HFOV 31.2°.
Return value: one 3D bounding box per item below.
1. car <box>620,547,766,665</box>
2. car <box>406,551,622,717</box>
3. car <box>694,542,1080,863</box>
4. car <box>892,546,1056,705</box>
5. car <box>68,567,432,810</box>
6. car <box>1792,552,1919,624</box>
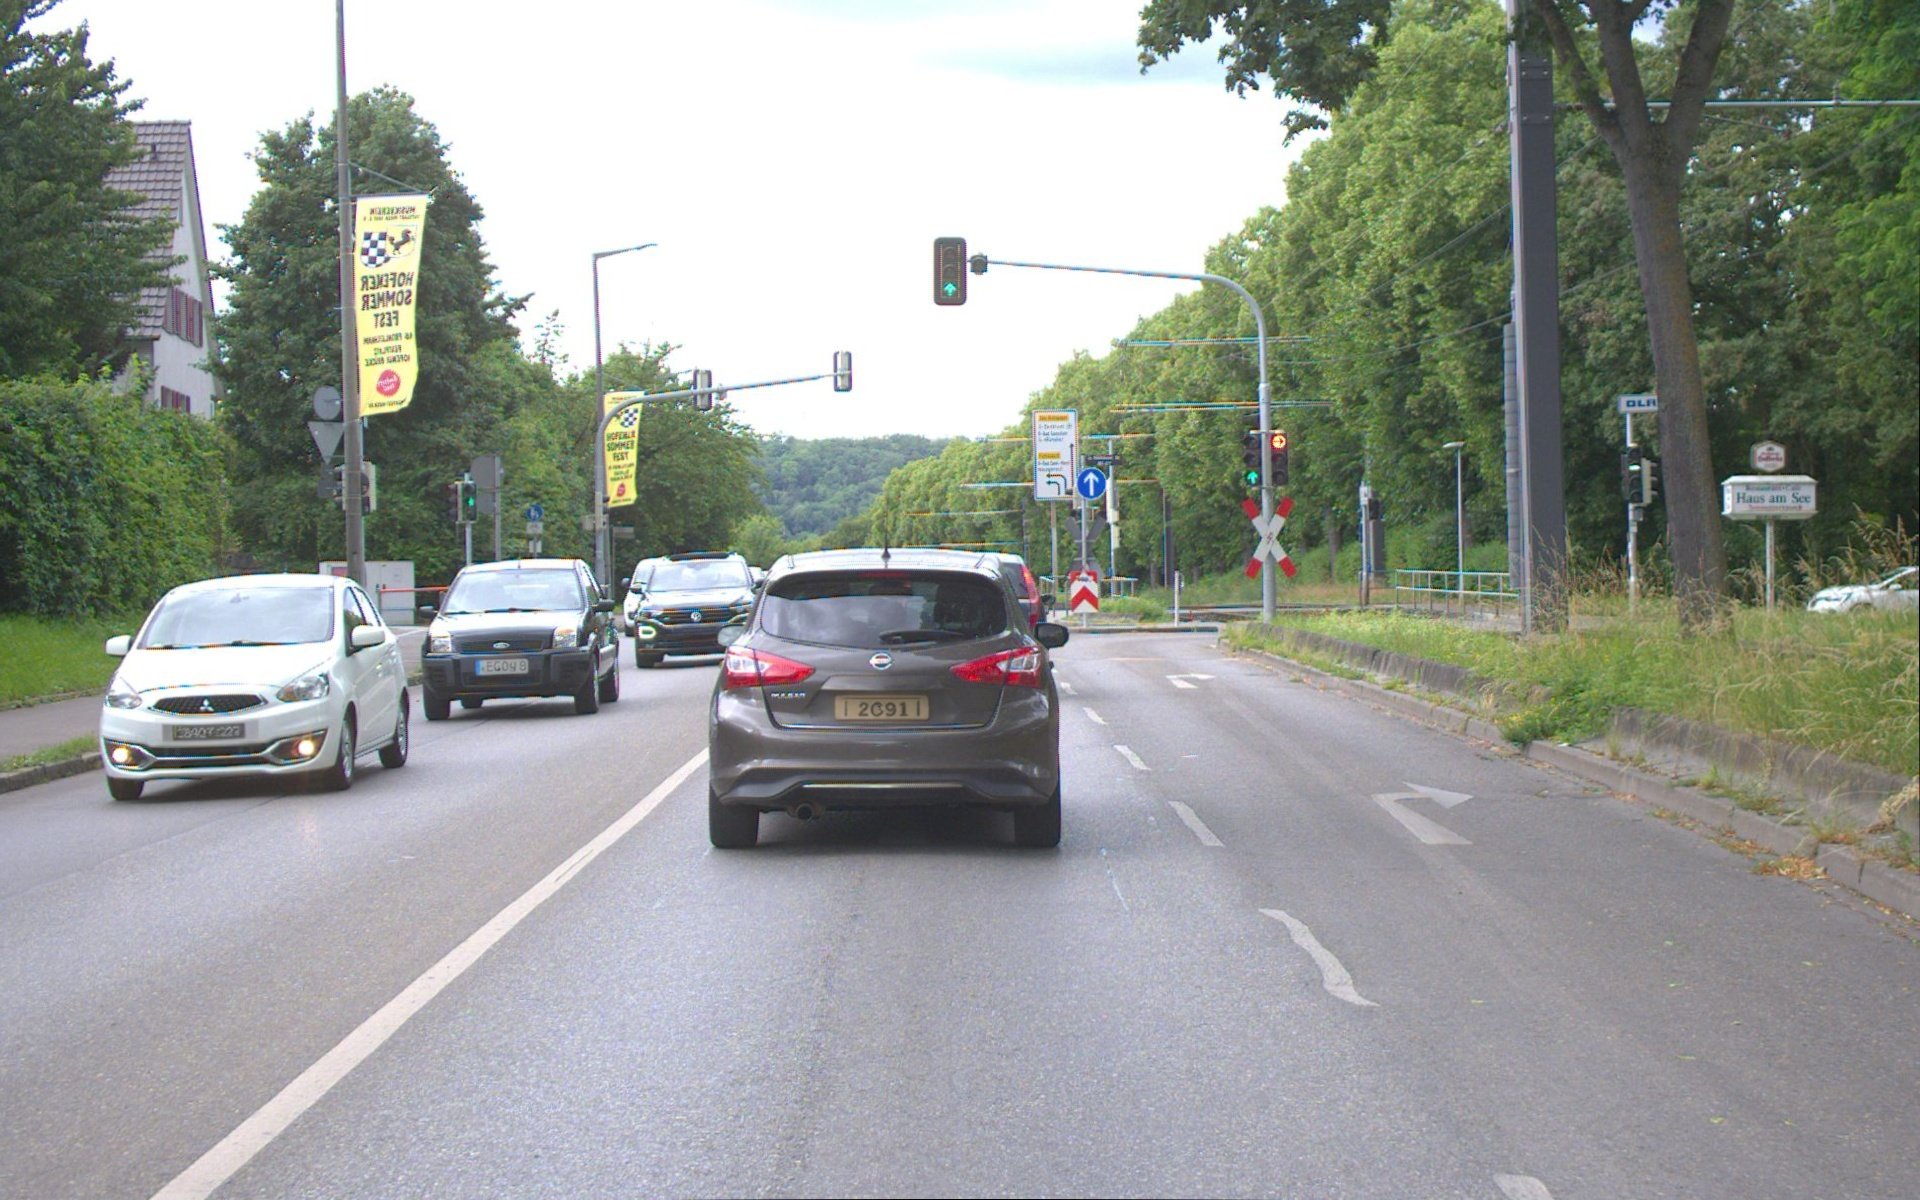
[{"bbox_3d":[-3.750,0.053,48.872,1.812,1.519,4.178,-3,1,-2],"label":"car"},{"bbox_3d":[-4.368,0.288,34.157,1.643,1.476,4.107,-3,1,-1],"label":"car"},{"bbox_3d":[-0.348,0.453,18.738,1.835,1.514,4.483,1,1,0],"label":"car"},{"bbox_3d":[0.139,0.218,35.159,1.538,1.473,3.764,-2,1,0],"label":"car"},{"bbox_3d":[-4.929,0.557,24.397,1.618,1.456,4.072,-4,1,1],"label":"car"},{"bbox_3d":[19.427,-0.207,70.721,3.986,1.349,2.000,3,1,-5],"label":"car"}]
